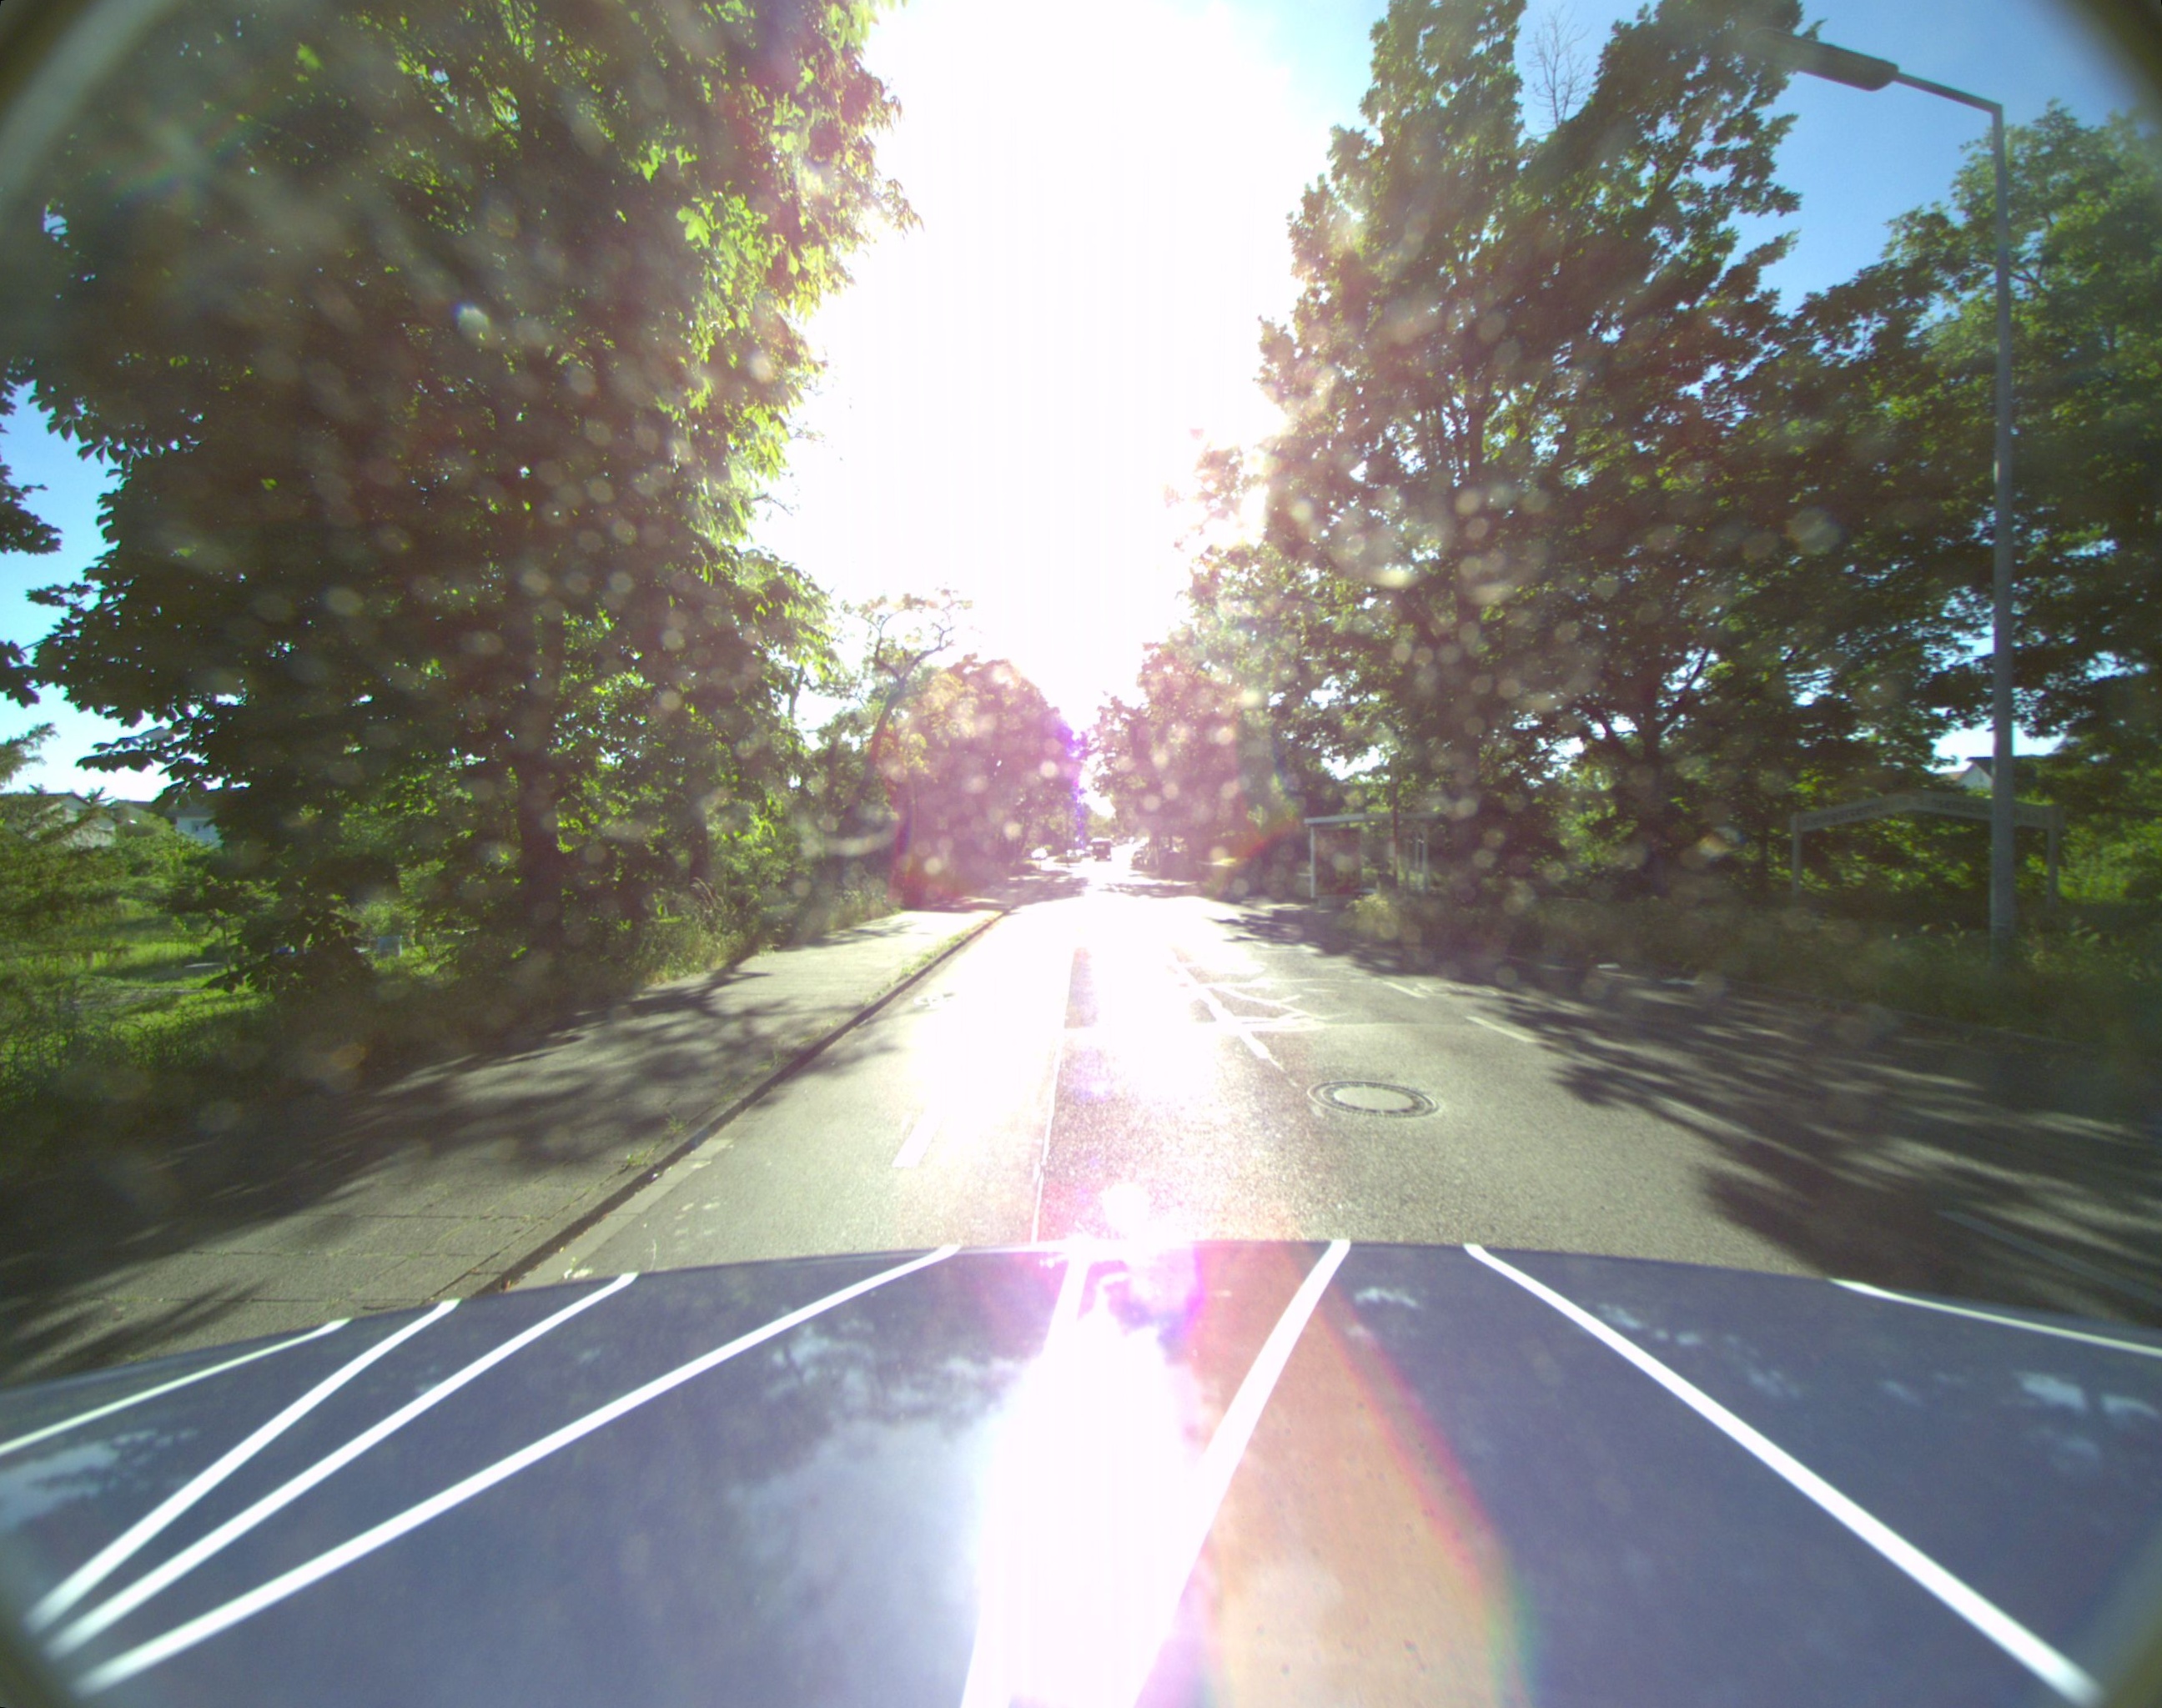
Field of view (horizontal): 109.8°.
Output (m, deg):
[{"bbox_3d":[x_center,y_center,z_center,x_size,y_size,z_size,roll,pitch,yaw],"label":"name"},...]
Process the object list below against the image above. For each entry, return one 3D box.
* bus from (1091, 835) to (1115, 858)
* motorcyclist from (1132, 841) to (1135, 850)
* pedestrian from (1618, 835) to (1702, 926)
[{"bbox_3d":[2.979,-0.994,107.771,2.790,2.965,12.893,-2,0,-1],"label":"bus"},{"bbox_3d":[11.757,-2.007,170.191,0.640,2.002,0.739,-3,2,-2],"label":"motorcyclist"},{"bbox_3d":[11.204,0.500,14.734,0.915,1.678,0.891,-2,0,2],"label":"pedestrian"}]
